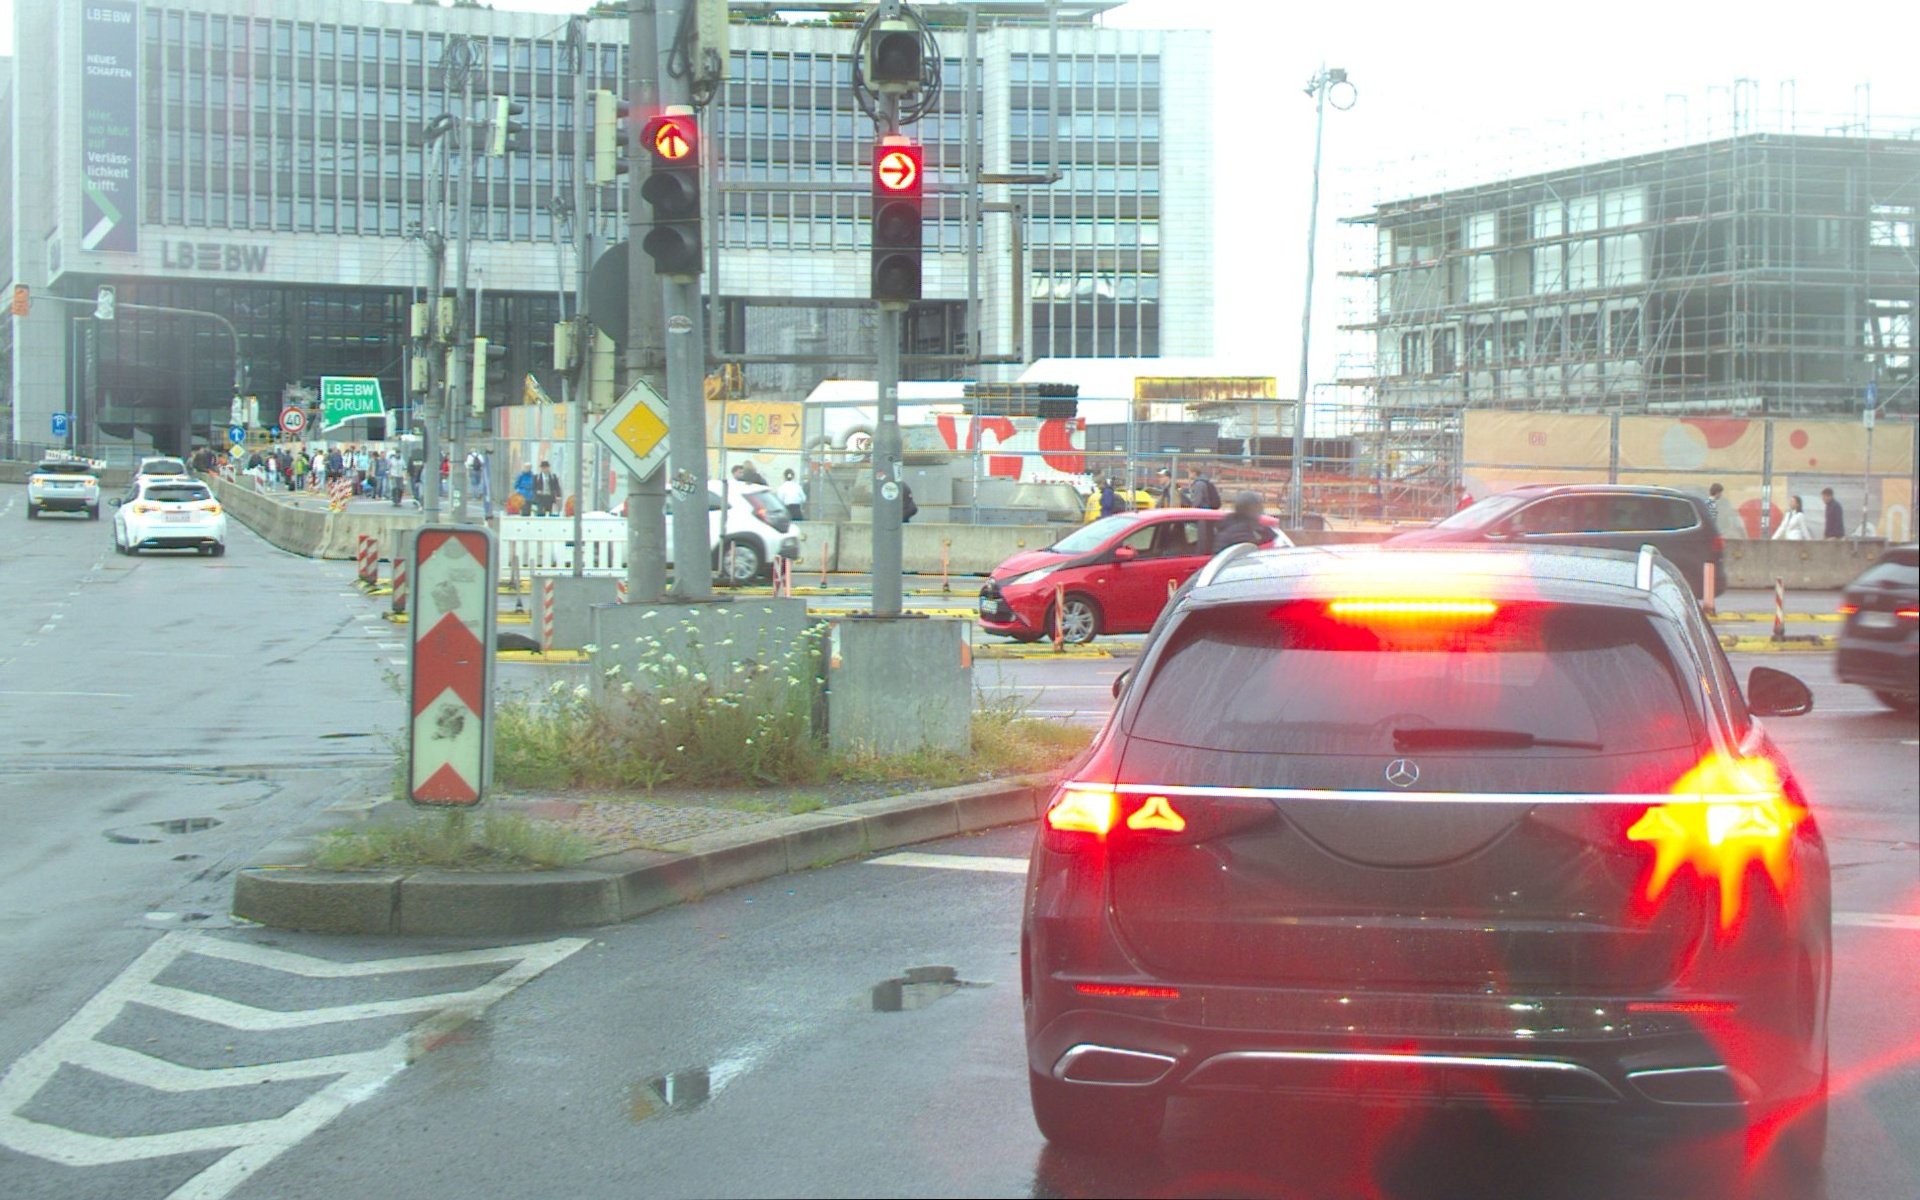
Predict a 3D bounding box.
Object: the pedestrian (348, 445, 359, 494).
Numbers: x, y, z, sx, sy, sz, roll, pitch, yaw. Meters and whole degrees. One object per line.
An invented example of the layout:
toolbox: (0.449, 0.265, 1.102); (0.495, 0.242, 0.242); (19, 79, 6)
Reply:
pedestrian: (-23.770, -5.127, 134.733); (0.361, 1.891, 0.576); (1, 0, -16)

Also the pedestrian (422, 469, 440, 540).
pedestrian: (-14.146, -2.551, 91.950); (0.361, 1.891, 0.576); (1, 0, -16)

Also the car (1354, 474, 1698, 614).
car: (7.477, -0.728, 45.548); (3.986, 1.728, 2.001); (1, 0, -15)

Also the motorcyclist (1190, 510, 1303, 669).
motorcyclist: (2.506, -0.090, 30.071); (0.945, 1.353, 0.849); (1, 0, 4)

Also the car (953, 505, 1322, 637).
car: (1.868, -0.300, 36.520); (3.532, 1.300, 1.666); (1, 0, -17)

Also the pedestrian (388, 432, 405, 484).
pedestrian: (-20.664, -5.208, 126.063); (0.519, 1.891, 0.576); (1, 0, -16)

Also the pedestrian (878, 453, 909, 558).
pedestrian: (-1.200, -1.702, 62.100); (0.361, 1.891, 0.576); (1, 0, -20)

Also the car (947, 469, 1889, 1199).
car: (1.223, 0.509, 9.045); (1.892, 1.538, 3.992); (1, 0, 9)

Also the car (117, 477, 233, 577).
car: (-14.590, -1.328, 64.059); (1.993, 1.760, 4.420); (1, 0, -12)

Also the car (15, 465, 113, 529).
car: (-24.575, -2.793, 94.218); (1.993, 1.634, 4.001); (1, 0, -23)

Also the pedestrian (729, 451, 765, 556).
pedestrian: (-3.892, -1.758, 62.797); (0.361, 1.891, 0.576); (1, 0, -40)

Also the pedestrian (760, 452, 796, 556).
pedestrian: (-3.350, -1.763, 63.115); (0.576, 1.891, 0.361); (0, 1, 45)

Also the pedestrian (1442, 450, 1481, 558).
pedestrian: (8.939, -1.708, 61.286); (0.574, 1.891, 0.362); (1, 0, -3)

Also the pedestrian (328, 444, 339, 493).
pedestrian: (-24.518, -5.135, 134.525); (0.361, 1.891, 0.576); (1, 0, -16)

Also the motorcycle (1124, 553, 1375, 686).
motorcycle: (2.521, 0.166, 30.041); (2.136, 1.104, 0.851); (1, 0, 4)

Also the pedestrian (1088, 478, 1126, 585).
pedestrian: (2.608, -1.210, 60.815); (0.575, 1.891, 0.362); (1, 0, 15)

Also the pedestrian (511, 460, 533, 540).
pedestrian: (-10.346, -2.362, 81.270); (0.361, 1.891, 0.576); (1, 0, -20)

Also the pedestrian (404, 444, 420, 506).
pedestrian: (-16.799, -3.829, 105.405); (0.361, 1.891, 0.576); (1, 0, -16)

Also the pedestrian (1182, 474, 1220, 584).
pedestrian: (4.156, -1.223, 59.300); (0.574, 1.891, 0.362); (1, 0, -6)

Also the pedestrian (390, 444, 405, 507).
pedestrian: (-17.229, -3.805, 105.290); (0.361, 1.891, 0.576); (1, 0, -16)

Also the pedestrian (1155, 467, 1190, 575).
pedestrian: (3.745, -1.388, 60.627); (0.574, 1.891, 0.362); (1, 0, 2)

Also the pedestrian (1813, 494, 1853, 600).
pedestrian: (15.794, -0.954, 62.189); (0.574, 1.891, 0.362); (1, 0, -10)

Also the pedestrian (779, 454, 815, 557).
pedestrian: (-3.007, -1.744, 63.409); (0.361, 1.891, 0.576); (1, 0, -42)

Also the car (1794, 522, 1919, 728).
car: (8.787, 0.212, 26.483); (4.098, 1.501, 2.001); (1, 0, -10)

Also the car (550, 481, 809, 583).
car: (-4.278, -1.031, 52.595); (3.550, 1.468, 1.785); (1, 0, 14)

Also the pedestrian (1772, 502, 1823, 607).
pedestrian: (15.296, -0.823, 62.817); (0.655, 1.895, 0.632); (1, 0, -12)

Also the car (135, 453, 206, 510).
car: (-25.219, -3.802, 109.794); (1.727, 1.634, 3.436); (1, 4, -21)

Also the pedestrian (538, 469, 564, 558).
pedestrian: (-8.685, -1.834, 73.029); (0.361, 1.891, 0.576); (1, 0, -25)
